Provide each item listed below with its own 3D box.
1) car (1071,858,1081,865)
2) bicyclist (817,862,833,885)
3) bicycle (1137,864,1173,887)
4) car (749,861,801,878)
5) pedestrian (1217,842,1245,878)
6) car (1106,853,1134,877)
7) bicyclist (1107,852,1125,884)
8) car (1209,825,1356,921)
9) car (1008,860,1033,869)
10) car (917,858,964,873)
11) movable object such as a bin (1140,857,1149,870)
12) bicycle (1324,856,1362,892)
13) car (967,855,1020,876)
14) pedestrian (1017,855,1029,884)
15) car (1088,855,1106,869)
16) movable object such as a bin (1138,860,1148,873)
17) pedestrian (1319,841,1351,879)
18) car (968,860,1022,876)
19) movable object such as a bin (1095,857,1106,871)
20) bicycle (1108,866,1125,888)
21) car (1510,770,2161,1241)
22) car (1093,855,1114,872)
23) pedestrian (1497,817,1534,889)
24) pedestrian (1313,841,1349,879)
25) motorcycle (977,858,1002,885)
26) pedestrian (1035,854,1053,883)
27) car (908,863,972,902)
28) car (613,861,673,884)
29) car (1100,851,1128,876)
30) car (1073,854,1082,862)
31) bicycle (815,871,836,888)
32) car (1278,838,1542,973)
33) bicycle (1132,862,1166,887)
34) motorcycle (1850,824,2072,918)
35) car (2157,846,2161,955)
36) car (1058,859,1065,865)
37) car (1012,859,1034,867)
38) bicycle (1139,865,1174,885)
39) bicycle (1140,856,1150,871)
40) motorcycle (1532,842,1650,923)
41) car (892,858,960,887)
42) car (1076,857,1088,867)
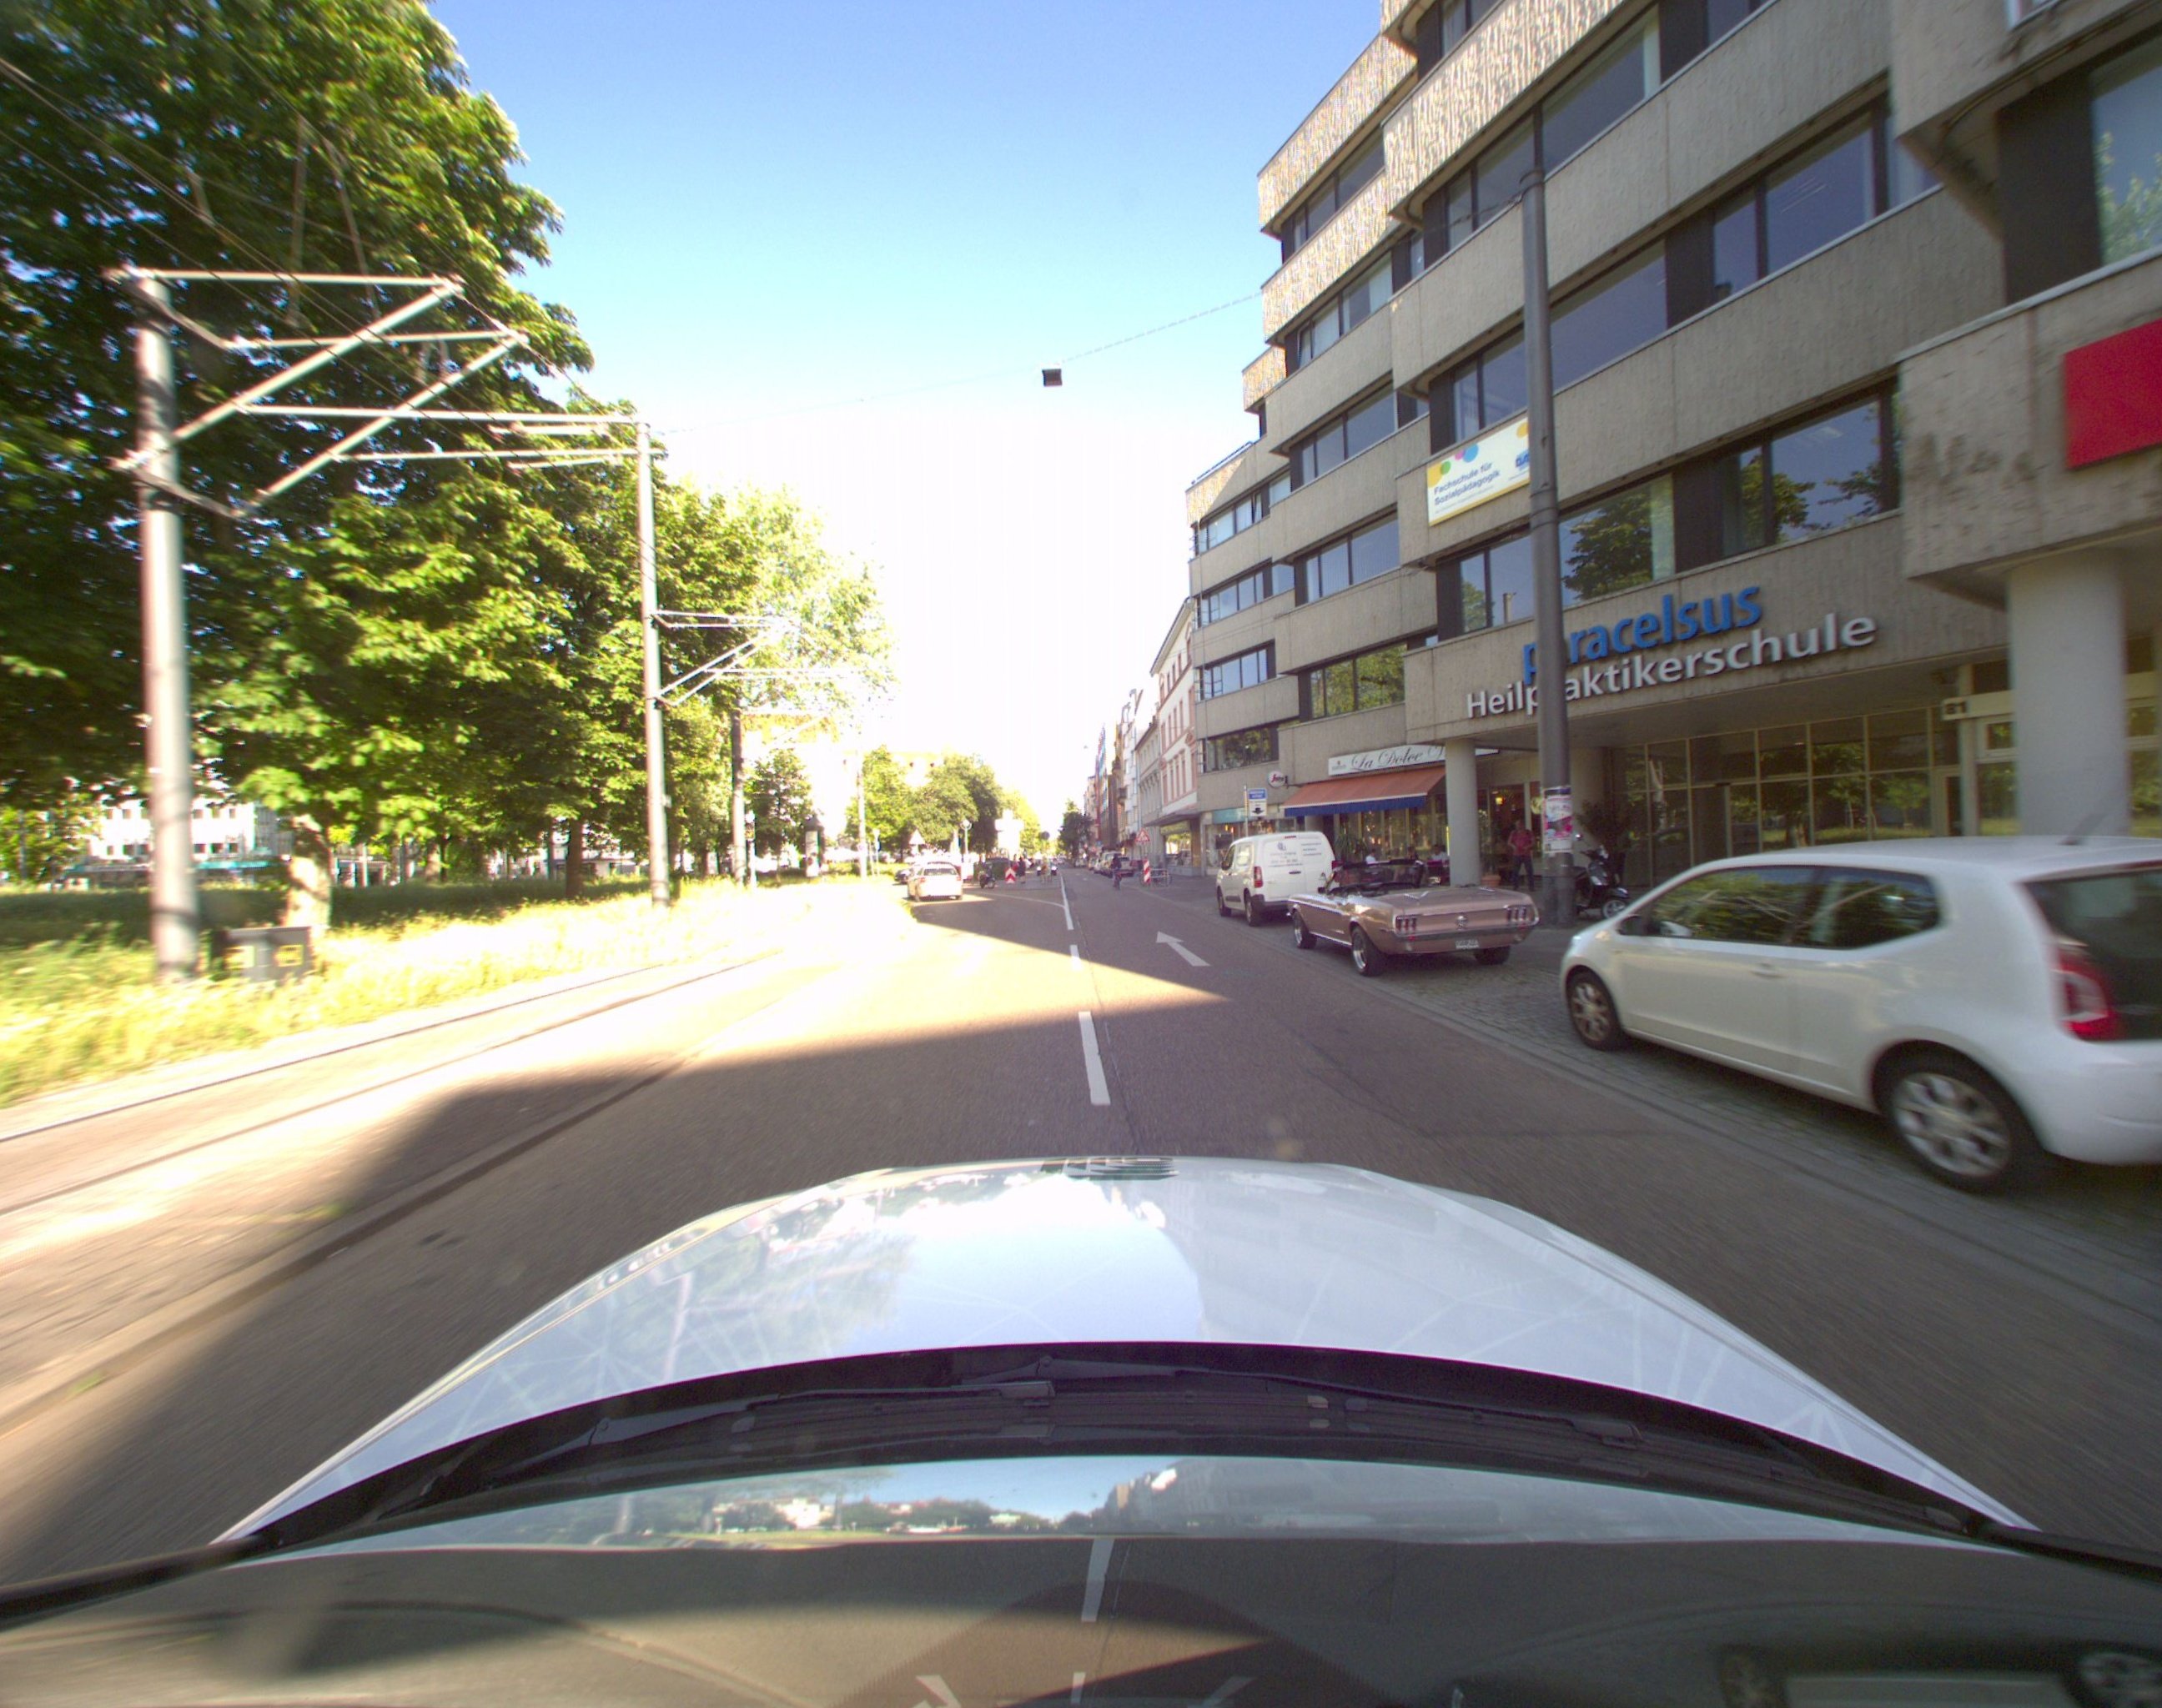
[{"bbox_3d":[-1.113,1.512,175.545,1.988,1.453,3.996,-1,-1,-2],"label":"car"},{"bbox_3d":[-17.141,1.315,54.538,0.934,1.507,0.818,0,-2,-29],"label":"bicyclist"},{"bbox_3d":[3.624,1.052,39.848,1.667,1.062,0.345,-1,-2,14],"label":"bicycle"},{"bbox_3d":[-35.911,1.800,95.624,5.608,2.014,1.801,0,-2,-29],"label":"car"},{"bbox_3d":[7.220,0.299,39.308,1.128,1.743,1.022,-1,-2,0],"label":"pedestrian"},{"bbox_3d":[2.878,0.842,61.317,1.741,1.739,4.956,0,-1,-2],"label":"car"},{"bbox_3d":[1.645,0.667,38.163,0.784,1.453,1.095,0,-2,-2],"label":"bicyclist"},{"bbox_3d":[4.192,0.403,17.723,1.988,1.813,4.305,0,-1,-2],"label":"car"},{"bbox_3d":[-10.090,1.750,135.583,3.975,1.508,1.999,0,-1,-1],"label":"car"},{"bbox_3d":[-17.196,1.409,99.712,5.294,1.800,2.143,0,-2,-29],"label":"car"},{"bbox_3d":[5.648,0.862,72.500,0.766,1.161,0.578,-1,-2,1],"label":"movable object such as a bin"},{"bbox_3d":[7.799,0.583,24.259,0.561,1.034,1.643,0,-1,-1],"label":"bicycle"},{"bbox_3d":[-7.235,0.915,67.117,3.998,1.668,1.988,0,-1,-18],"label":"car"},{"bbox_3d":[-3.437,0.919,48.475,0.634,1.672,0.692,-1,-2,-1],"label":"pedestrian"},{"bbox_3d":[1.988,1.022,102.108,1.894,1.675,4.820,0,-1,-2],"label":"car"},{"bbox_3d":[5.607,1.153,73.771,0.792,1.076,0.660,-5,-2,0],"label":"movable object such as a bin"},{"bbox_3d":[9.454,0.214,30.322,0.847,1.402,0.745,0,-1,-32],"label":"pedestrian"},{"bbox_3d":[-8.245,1.361,78.334,4.859,1.488,1.750,0,-2,-26],"label":"car"},{"bbox_3d":[2.237,1.082,91.551,1.069,1.457,1.494,-4,0,3],"label":"movable object such as a bin"},{"bbox_3d":[1.647,1.076,38.068,0.650,0.958,2.696,0,-1,-1],"label":"bicycle"},{"bbox_3d":[4.589,0.578,4.919,1.846,1.689,3.863,0,-1,-2],"label":"car"},{"bbox_3d":[2.199,0.991,80.869,1.714,1.515,3.579,-4,-1,-2],"label":"car"},{"bbox_3d":[11.125,-0.016,20.867,0.696,1.816,0.721,-2,-2,37],"label":"pedestrian"},{"bbox_3d":[8.891,0.231,29.010,0.842,1.292,0.827,-3,-1,-14],"label":"pedestrian"},{"bbox_3d":[-4.633,0.888,41.154,0.749,1.374,1.746,0,-2,-25],"label":"motorcycle"},{"bbox_3d":[-2.185,0.878,48.362,0.795,1.699,0.674,-2,-2,40],"label":"pedestrian"},{"bbox_3d":[-5.654,1.118,32.354,1.998,1.423,4.171,0,-1,-17],"label":"car"},{"bbox_3d":[-45.715,1.947,85.098,5.362,2.314,1.983,0,-2,-25],"label":"car"},{"bbox_3d":[2.847,0.809,71.377,1.989,2.005,5.111,-2,0,-3],"label":"car"},{"bbox_3d":[-0.945,0.985,199.437,1.988,2.014,3.996,-1,-1,-2],"label":"car"},{"bbox_3d":[-17.121,1.715,54.506,0.814,1.069,2.559,0,-2,-29],"label":"bicycle"},{"bbox_3d":[4.161,0.613,11.254,1.768,1.454,4.730,-1,-1,0],"label":"car"},{"bbox_3d":[3.502,1.069,41.713,1.608,1.243,0.662,-1,-2,18],"label":"bicycle"},{"bbox_3d":[11.959,0.210,11.188,0.512,1.168,2.092,0,0,-13],"label":"motorcycle"},{"bbox_3d":[4.550,0.677,0.714,1.665,1.518,4.199,-1,-1,1],"label":"car"},{"bbox_3d":[-4.947,2.102,207.530,1.865,1.556,3.997,-1,-1,-1],"label":"car"},{"bbox_3d":[-10.782,1.627,151.370,3.975,1.508,1.893,0,-1,-1],"label":"car"},{"bbox_3d":[3.730,1.043,40.219,1.691,1.004,0.429,-1,-2,14],"label":"bicycle"},{"bbox_3d":[5.539,0.829,70.444,0.479,1.186,1.727,-4,-2,16],"label":"bicycle"},{"bbox_3d":[8.078,0.443,13.030,0.759,1.155,2.052,-4,-2,8],"label":"motorcycle"},{"bbox_3d":[-10.027,1.171,52.662,3.889,1.682,1.791,-1,-1,-38],"label":"car"},{"bbox_3d":[0.173,1.434,143.367,1.987,1.618,4.010,0,-1,1],"label":"car"}]
